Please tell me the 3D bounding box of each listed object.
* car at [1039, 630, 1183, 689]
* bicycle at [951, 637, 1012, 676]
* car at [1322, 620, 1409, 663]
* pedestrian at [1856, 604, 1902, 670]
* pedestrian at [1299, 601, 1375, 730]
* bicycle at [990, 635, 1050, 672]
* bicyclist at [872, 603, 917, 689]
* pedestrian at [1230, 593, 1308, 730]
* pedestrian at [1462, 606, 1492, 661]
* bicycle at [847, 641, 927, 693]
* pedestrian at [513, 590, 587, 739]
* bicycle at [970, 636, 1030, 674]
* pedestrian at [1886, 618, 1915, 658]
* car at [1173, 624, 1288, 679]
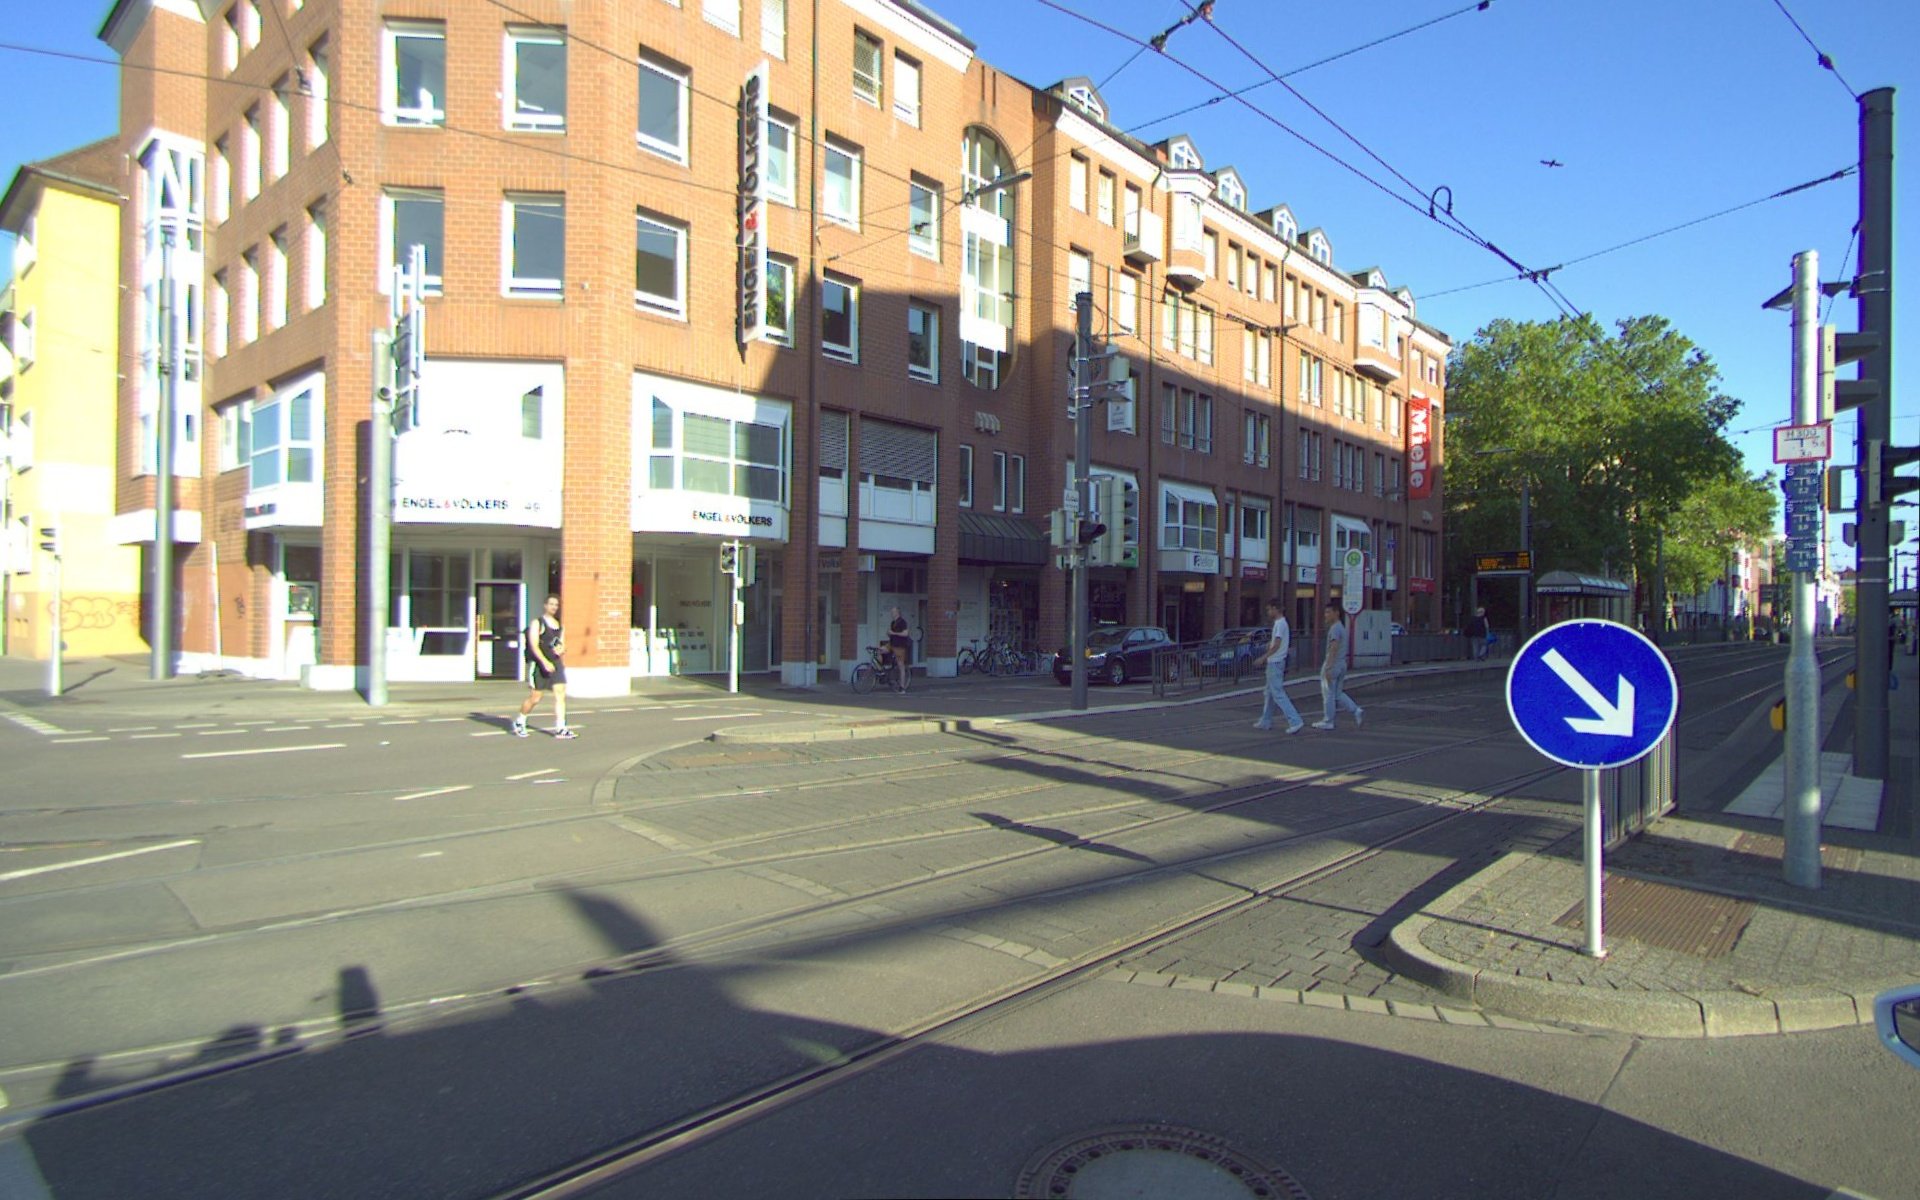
[{"bbox_3d":[3.975,1.477,26.086,3.911,1.261,1.728,-1,1,-44],"label":"car"},{"bbox_3d":[0.592,1.566,28.083,1.811,0.974,0.541,0,1,42],"label":"bicycle"},{"bbox_3d":[15.497,1.527,38.313,1.727,1.444,3.912,1,1,45],"label":"car"},{"bbox_3d":[23.772,0.944,25.999,0.768,1.682,0.682,1,1,34],"label":"pedestrian"},{"bbox_3d":[5.177,0.876,13.821,0.850,1.717,0.624,0,1,7],"label":"pedestrian"},{"bbox_3d":[1.743,1.550,29.469,1.811,0.974,0.541,1,1,42],"label":"bicycle"},{"bbox_3d":[-1.496,1.034,22.914,0.804,1.904,0.627,-1,1,-41],"label":"bicyclist"},{"bbox_3d":[4.157,0.804,13.503,0.986,1.788,0.510,0,1,20],"label":"pedestrian"},{"bbox_3d":[15.276,0.973,29.695,0.677,1.599,0.621,0,1,19],"label":"pedestrian"},{"bbox_3d":[-1.642,1.500,22.792,1.822,1.063,0.627,-1,1,-41],"label":"bicycle"},{"bbox_3d":[-5.095,0.772,12.499,0.817,1.781,0.692,0,1,-22],"label":"pedestrian"},{"bbox_3d":[1.125,1.558,28.713,1.811,0.974,0.541,1,1,42],"label":"bicycle"},{"bbox_3d":[40.206,1.611,42.936,0.768,1.682,0.682,1,1,34],"label":"pedestrian"},{"bbox_3d":[8.316,1.521,30.732,1.727,1.444,3.912,1,1,45],"label":"car"}]
